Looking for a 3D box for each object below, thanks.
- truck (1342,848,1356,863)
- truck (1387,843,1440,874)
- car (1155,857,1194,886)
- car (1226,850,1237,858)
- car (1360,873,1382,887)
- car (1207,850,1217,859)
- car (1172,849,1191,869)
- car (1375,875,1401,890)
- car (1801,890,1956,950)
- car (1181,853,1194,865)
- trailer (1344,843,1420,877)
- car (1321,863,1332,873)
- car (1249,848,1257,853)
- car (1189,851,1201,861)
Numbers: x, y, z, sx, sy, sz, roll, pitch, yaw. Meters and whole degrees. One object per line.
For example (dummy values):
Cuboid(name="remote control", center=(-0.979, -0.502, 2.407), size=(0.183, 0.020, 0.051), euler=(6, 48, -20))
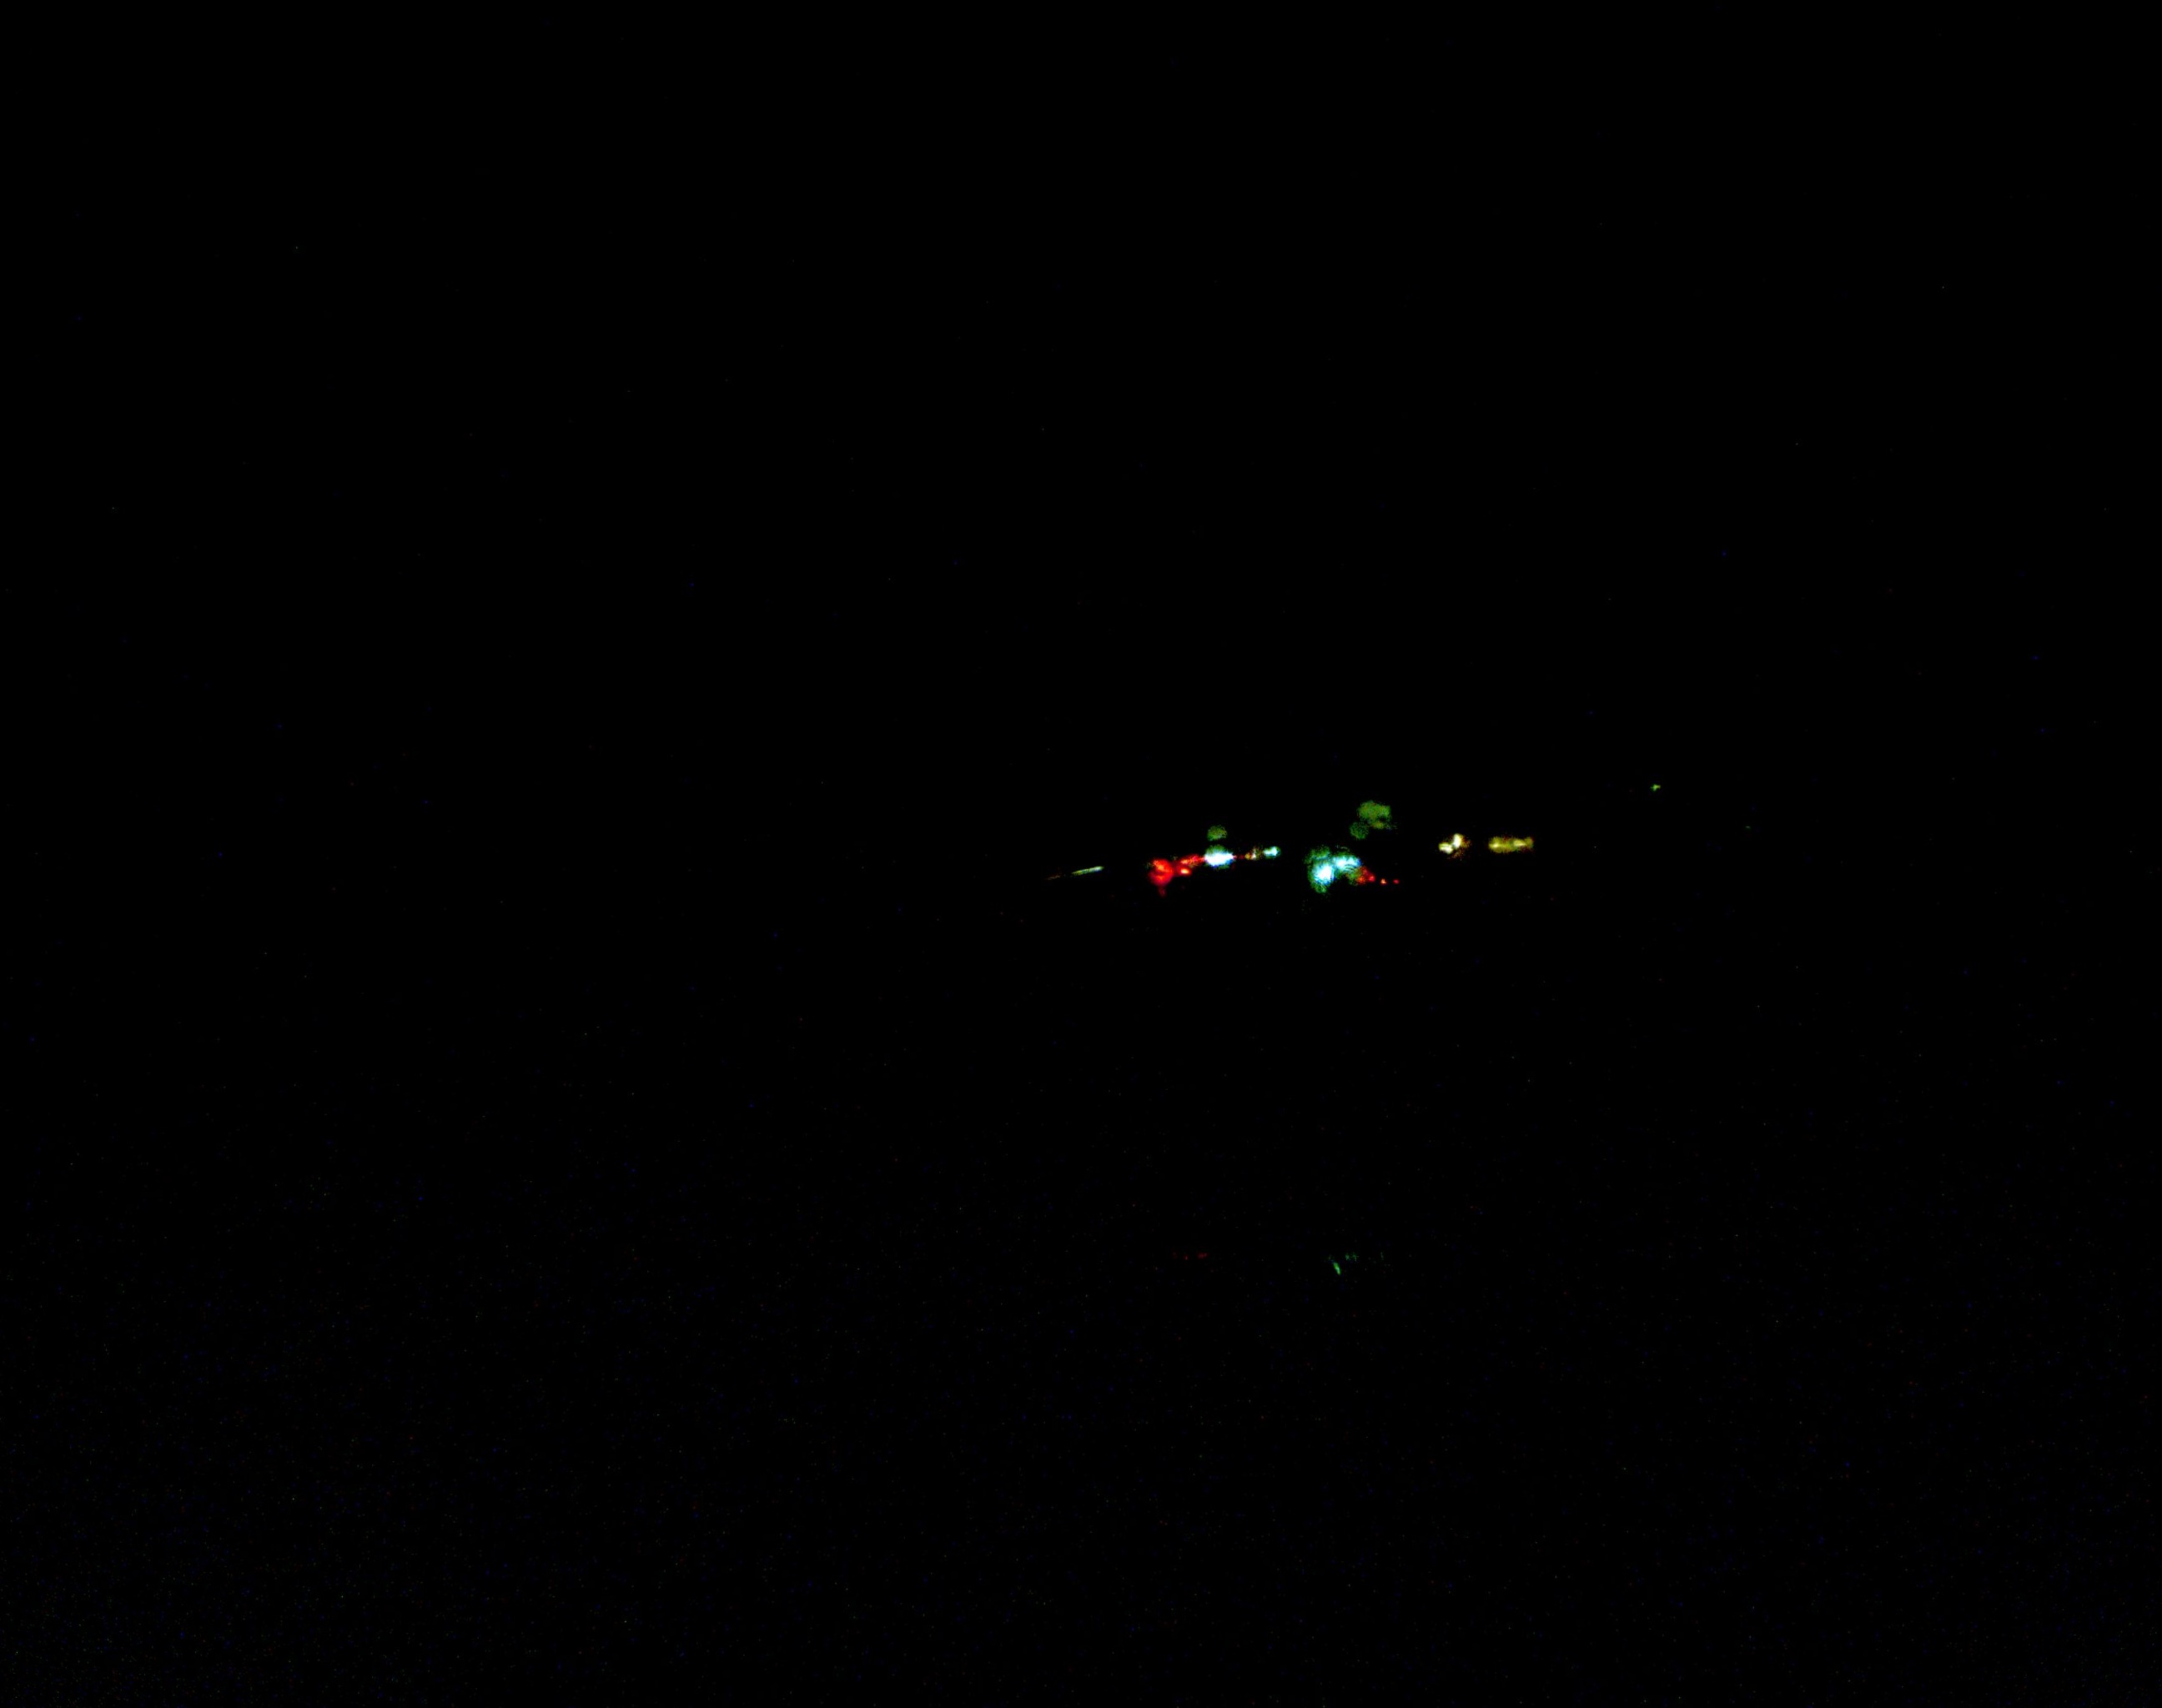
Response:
Cuboid(name="truck", center=(62.067, 0.324, 175.789), size=(2.759, 3.462, 8.117), euler=(-2, 0, 22))
Cuboid(name="truck", center=(53.804, 0.695, 122.908), size=(7.323, 4.768, 3.333), euler=(-2, 1, -17))
Cuboid(name="car", center=(5.720, 1.049, 47.138), size=(1.998, 1.604, 4.612), euler=(-2, 0, 2))
Cuboid(name="car", center=(36.963, -0.056, 186.244), size=(1.996, 1.795, 4.601), euler=(-2, 0, 17))
Cuboid(name="car", center=(38.698, 3.421, 101.522), size=(1.812, 1.666, 4.295), euler=(-2, 0, 8))
Cuboid(name="car", center=(26.019, 0.101, 151.025), size=(1.791, 1.614, 4.378), euler=(-1, 3, 12))
Cuboid(name="car", center=(10.870, 0.546, 82.326), size=(1.997, 2.063, 4.002), euler=(-2, 0, 7))
Cuboid(name="car", center=(36.693, 3.349, 90.909), size=(1.812, 1.561, 4.295), euler=(-2, 0, 8))
Cuboid(name="car", center=(32.043, 2.583, 30.735), size=(1.999, 2.002, 3.999), euler=(-2, 0, -2))
Cuboid(name="car", center=(15.413, 0.734, 110.033), size=(1.691, 1.671, 3.469), euler=(-2, 1, 8))
Cuboid(name="trailer", center=(48.014, 0.935, 121.133), size=(11.563, 4.768, 3.333), euler=(-2, 1, -17))
Cuboid(name="car", center=(46.383, 2.702, 143.447), size=(1.811, 1.666, 4.297), euler=(-2, 0, 16))
Cuboid(name="car", center=(54.666, -1.114, 240.991), size=(1.787, 1.470, 3.686), euler=(-2, 0, 24))
Cuboid(name="car", center=(18.997, 0.347, 126.130), size=(1.820, 1.550, 4.181), euler=(-2, 0, 11))
